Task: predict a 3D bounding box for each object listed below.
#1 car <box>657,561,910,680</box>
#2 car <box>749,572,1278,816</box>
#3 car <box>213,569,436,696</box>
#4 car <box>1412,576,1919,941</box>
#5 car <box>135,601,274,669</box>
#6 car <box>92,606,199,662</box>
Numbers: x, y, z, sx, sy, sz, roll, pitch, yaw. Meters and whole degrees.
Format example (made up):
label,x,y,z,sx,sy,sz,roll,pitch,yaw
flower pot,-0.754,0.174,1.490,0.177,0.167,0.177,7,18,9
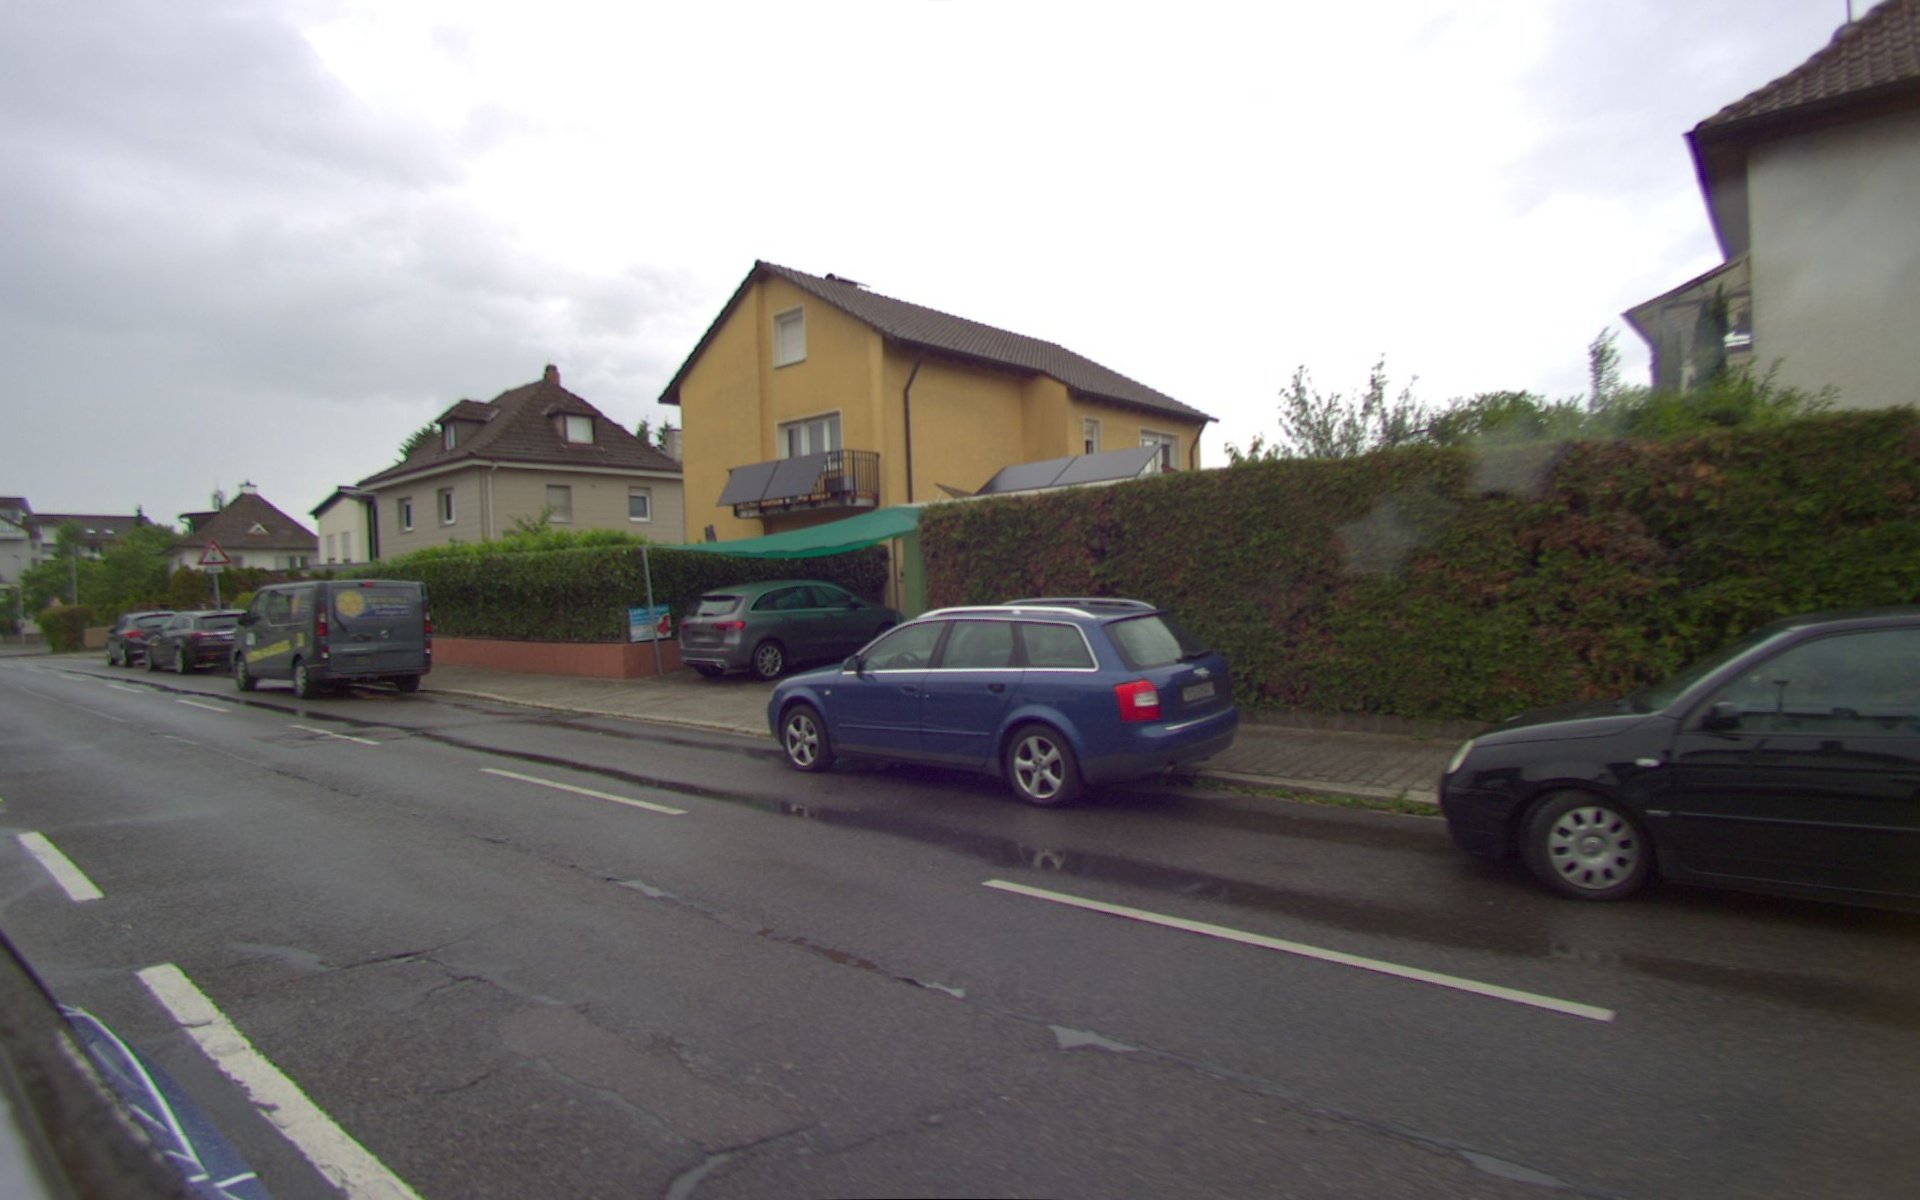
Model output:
label,x,y,z,sx,sy,sz,roll,pitch,yaw
car,-2.961,0.267,17.596,1.918,1.625,3.919,0,4,42
car,0.254,0.592,8.508,4.284,1.544,1.739,0,1,41
car,-11.703,0.514,18.482,5.082,2.018,1.894,0,1,39
car,4.373,0.620,4.566,4.009,1.442,1.536,0,1,38
car,-19.036,0.818,25.436,4.523,1.528,1.733,0,1,39
car,-23.752,0.940,29.470,4.128,1.450,1.732,0,1,41
